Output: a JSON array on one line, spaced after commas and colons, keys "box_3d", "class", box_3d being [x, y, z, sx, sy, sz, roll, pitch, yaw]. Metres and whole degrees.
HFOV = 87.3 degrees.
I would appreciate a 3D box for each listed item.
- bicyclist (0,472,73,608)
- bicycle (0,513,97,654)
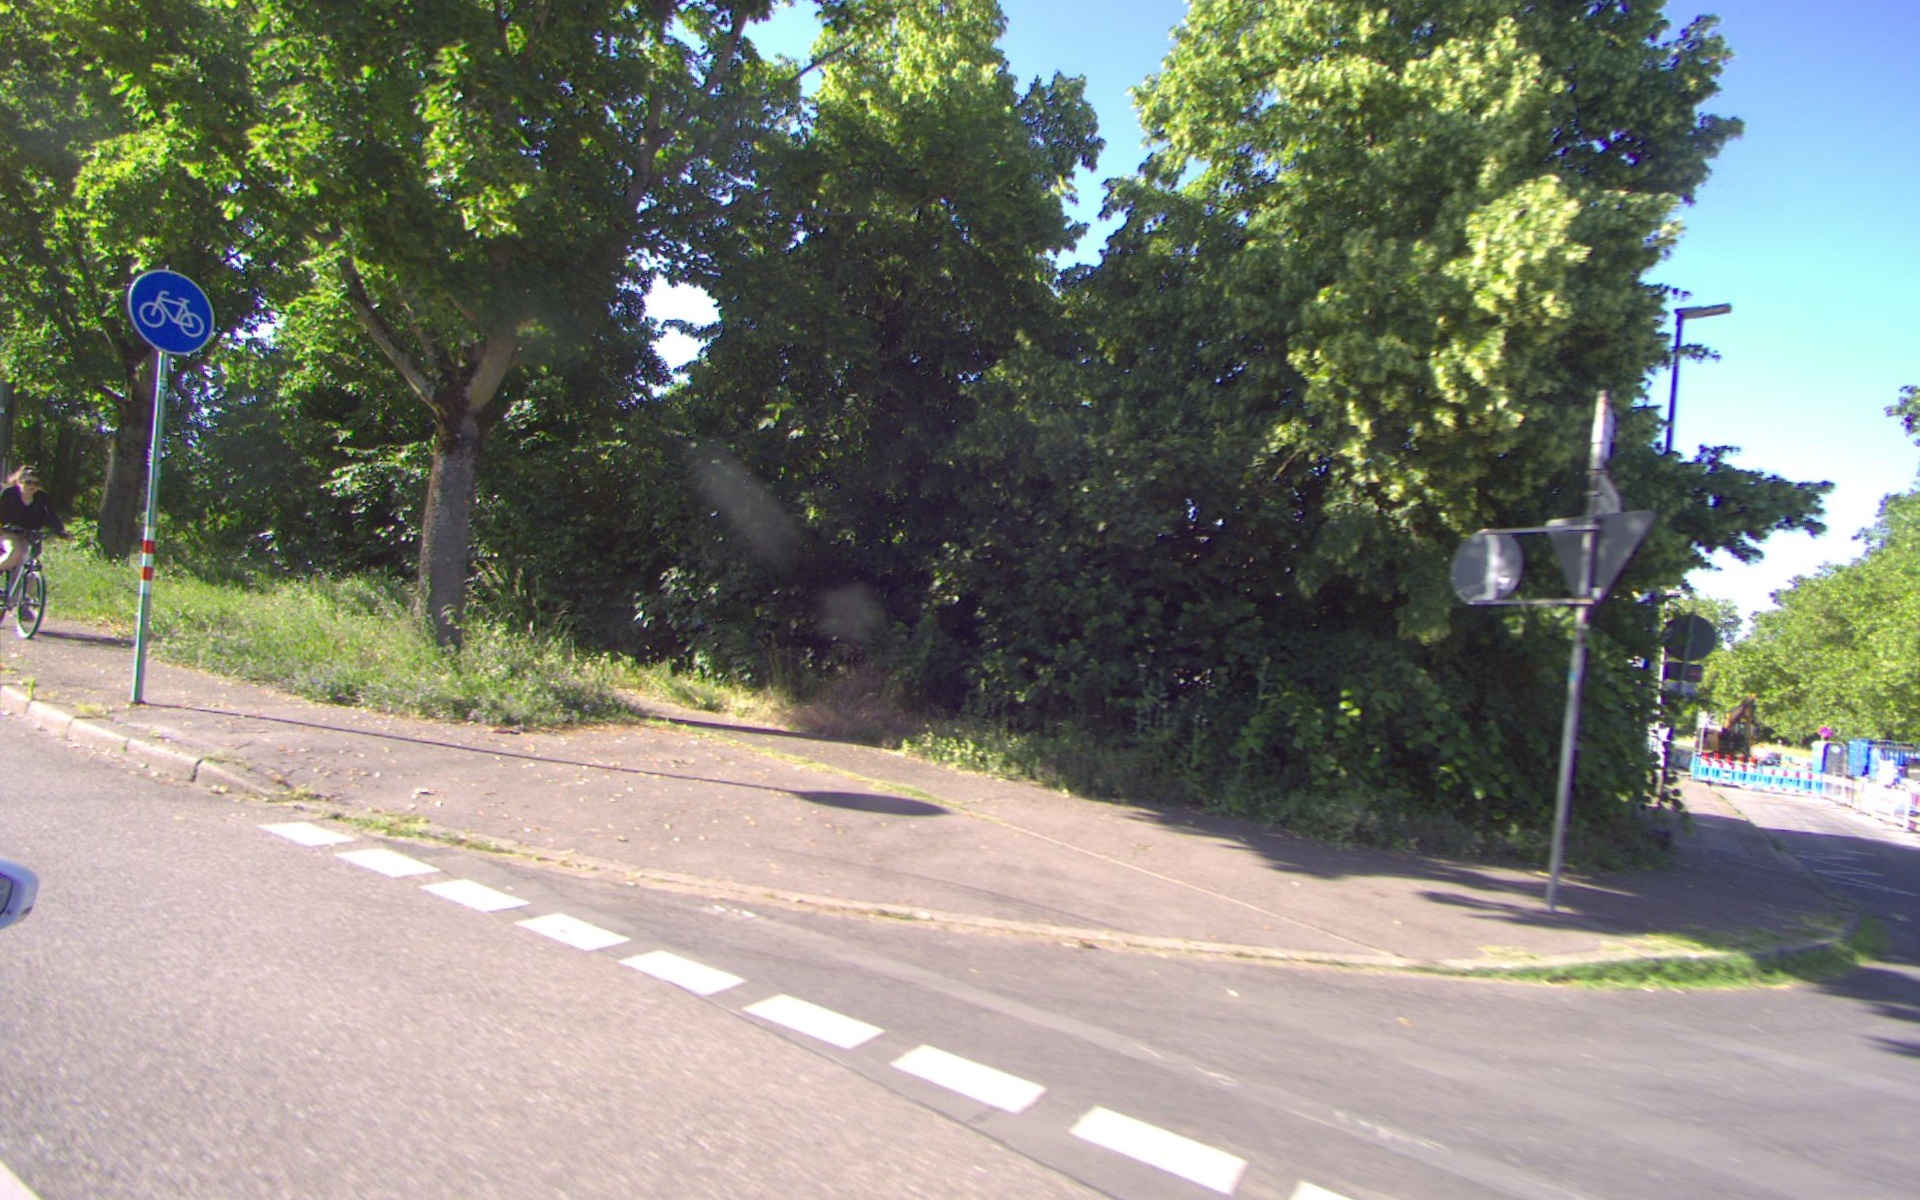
[{"box_3d": [-10.230, -0.662, 10.800, 0.792, 1.385, 0.756, 7, 1, 30], "class": "bicyclist"}, {"box_3d": [-9.957, -0.230, 10.564, 2.464, 1.207, 0.618, 9, 5, 31], "class": "bicycle"}]
